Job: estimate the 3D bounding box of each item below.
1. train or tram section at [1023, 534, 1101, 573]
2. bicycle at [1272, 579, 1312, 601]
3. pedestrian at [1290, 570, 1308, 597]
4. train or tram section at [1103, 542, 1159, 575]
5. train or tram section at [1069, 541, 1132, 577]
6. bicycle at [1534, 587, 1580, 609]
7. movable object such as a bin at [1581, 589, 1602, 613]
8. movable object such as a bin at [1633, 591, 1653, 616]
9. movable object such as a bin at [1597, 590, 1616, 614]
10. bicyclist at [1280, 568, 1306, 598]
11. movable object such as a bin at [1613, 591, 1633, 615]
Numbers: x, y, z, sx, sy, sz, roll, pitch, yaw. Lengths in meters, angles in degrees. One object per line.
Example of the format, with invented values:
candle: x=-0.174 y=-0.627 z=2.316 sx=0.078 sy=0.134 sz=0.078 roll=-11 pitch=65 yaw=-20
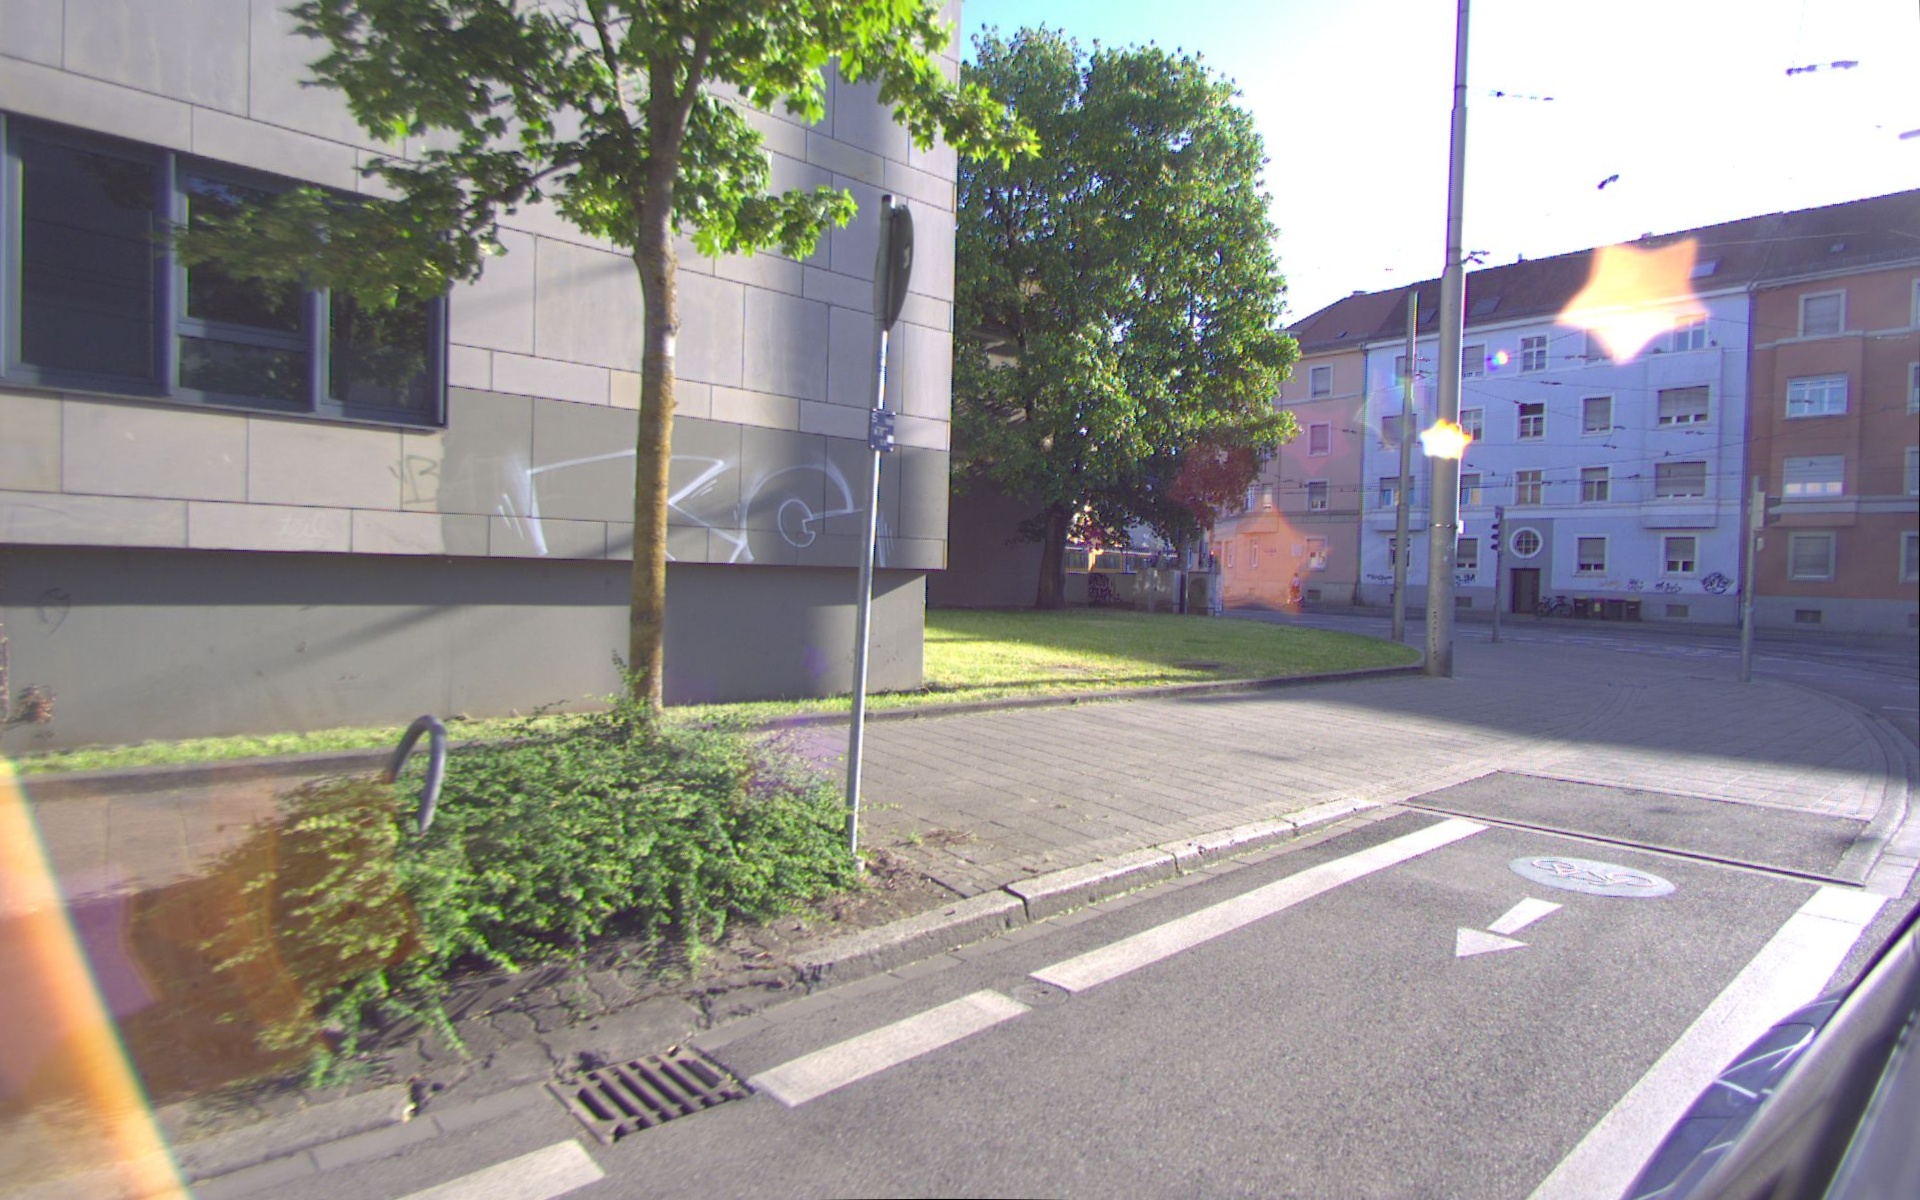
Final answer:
train or tram section: x=9.533 y=-4.195 z=93.138 sx=3.137 sy=3.361 sz=11.711 roll=2 pitch=2 yaw=27
bicycle: x=19.240 y=-0.573 z=58.686 sx=0.736 sy=1.205 sz=2.149 roll=0 pitch=3 yaw=-41
pedestrian: x=20.236 y=-0.994 z=60.357 sx=0.665 sy=1.583 sz=0.719 roll=0 pitch=2 yaw=-40
train or tram section: x=19.159 y=-4.630 z=112.590 sx=3.135 sy=3.397 sz=10.753 roll=3 pitch=3 yaw=26
train or tram section: x=14.453 y=-4.216 z=103.069 sx=3.135 sy=3.397 sz=10.585 roll=3 pitch=3 yaw=26
bicycle: x=29.615 y=-0.128 z=50.214 sx=0.597 sy=0.992 sz=1.874 roll=-1 pitch=4 yaw=-41
movable object such as a bin: x=30.595 y=0.048 z=49.052 sx=0.692 sy=1.120 sz=0.647 roll=0 pitch=3 yaw=-42
movable object such as a bin: x=31.986 y=0.145 z=47.381 sx=0.692 sy=1.120 sz=0.582 roll=0 pitch=3 yaw=-42
movable object such as a bin: x=31.042 y=0.078 z=48.573 sx=0.692 sy=1.120 sz=0.582 roll=0 pitch=3 yaw=-42
bicyclist: x=19.294 y=-0.974 z=58.632 sx=0.736 sy=1.663 sz=1.124 roll=0 pitch=2 yaw=-41
movable object such as a bin: x=31.477 y=0.134 z=48.040 sx=0.692 sy=1.120 sz=0.582 roll=0 pitch=3 yaw=-42
